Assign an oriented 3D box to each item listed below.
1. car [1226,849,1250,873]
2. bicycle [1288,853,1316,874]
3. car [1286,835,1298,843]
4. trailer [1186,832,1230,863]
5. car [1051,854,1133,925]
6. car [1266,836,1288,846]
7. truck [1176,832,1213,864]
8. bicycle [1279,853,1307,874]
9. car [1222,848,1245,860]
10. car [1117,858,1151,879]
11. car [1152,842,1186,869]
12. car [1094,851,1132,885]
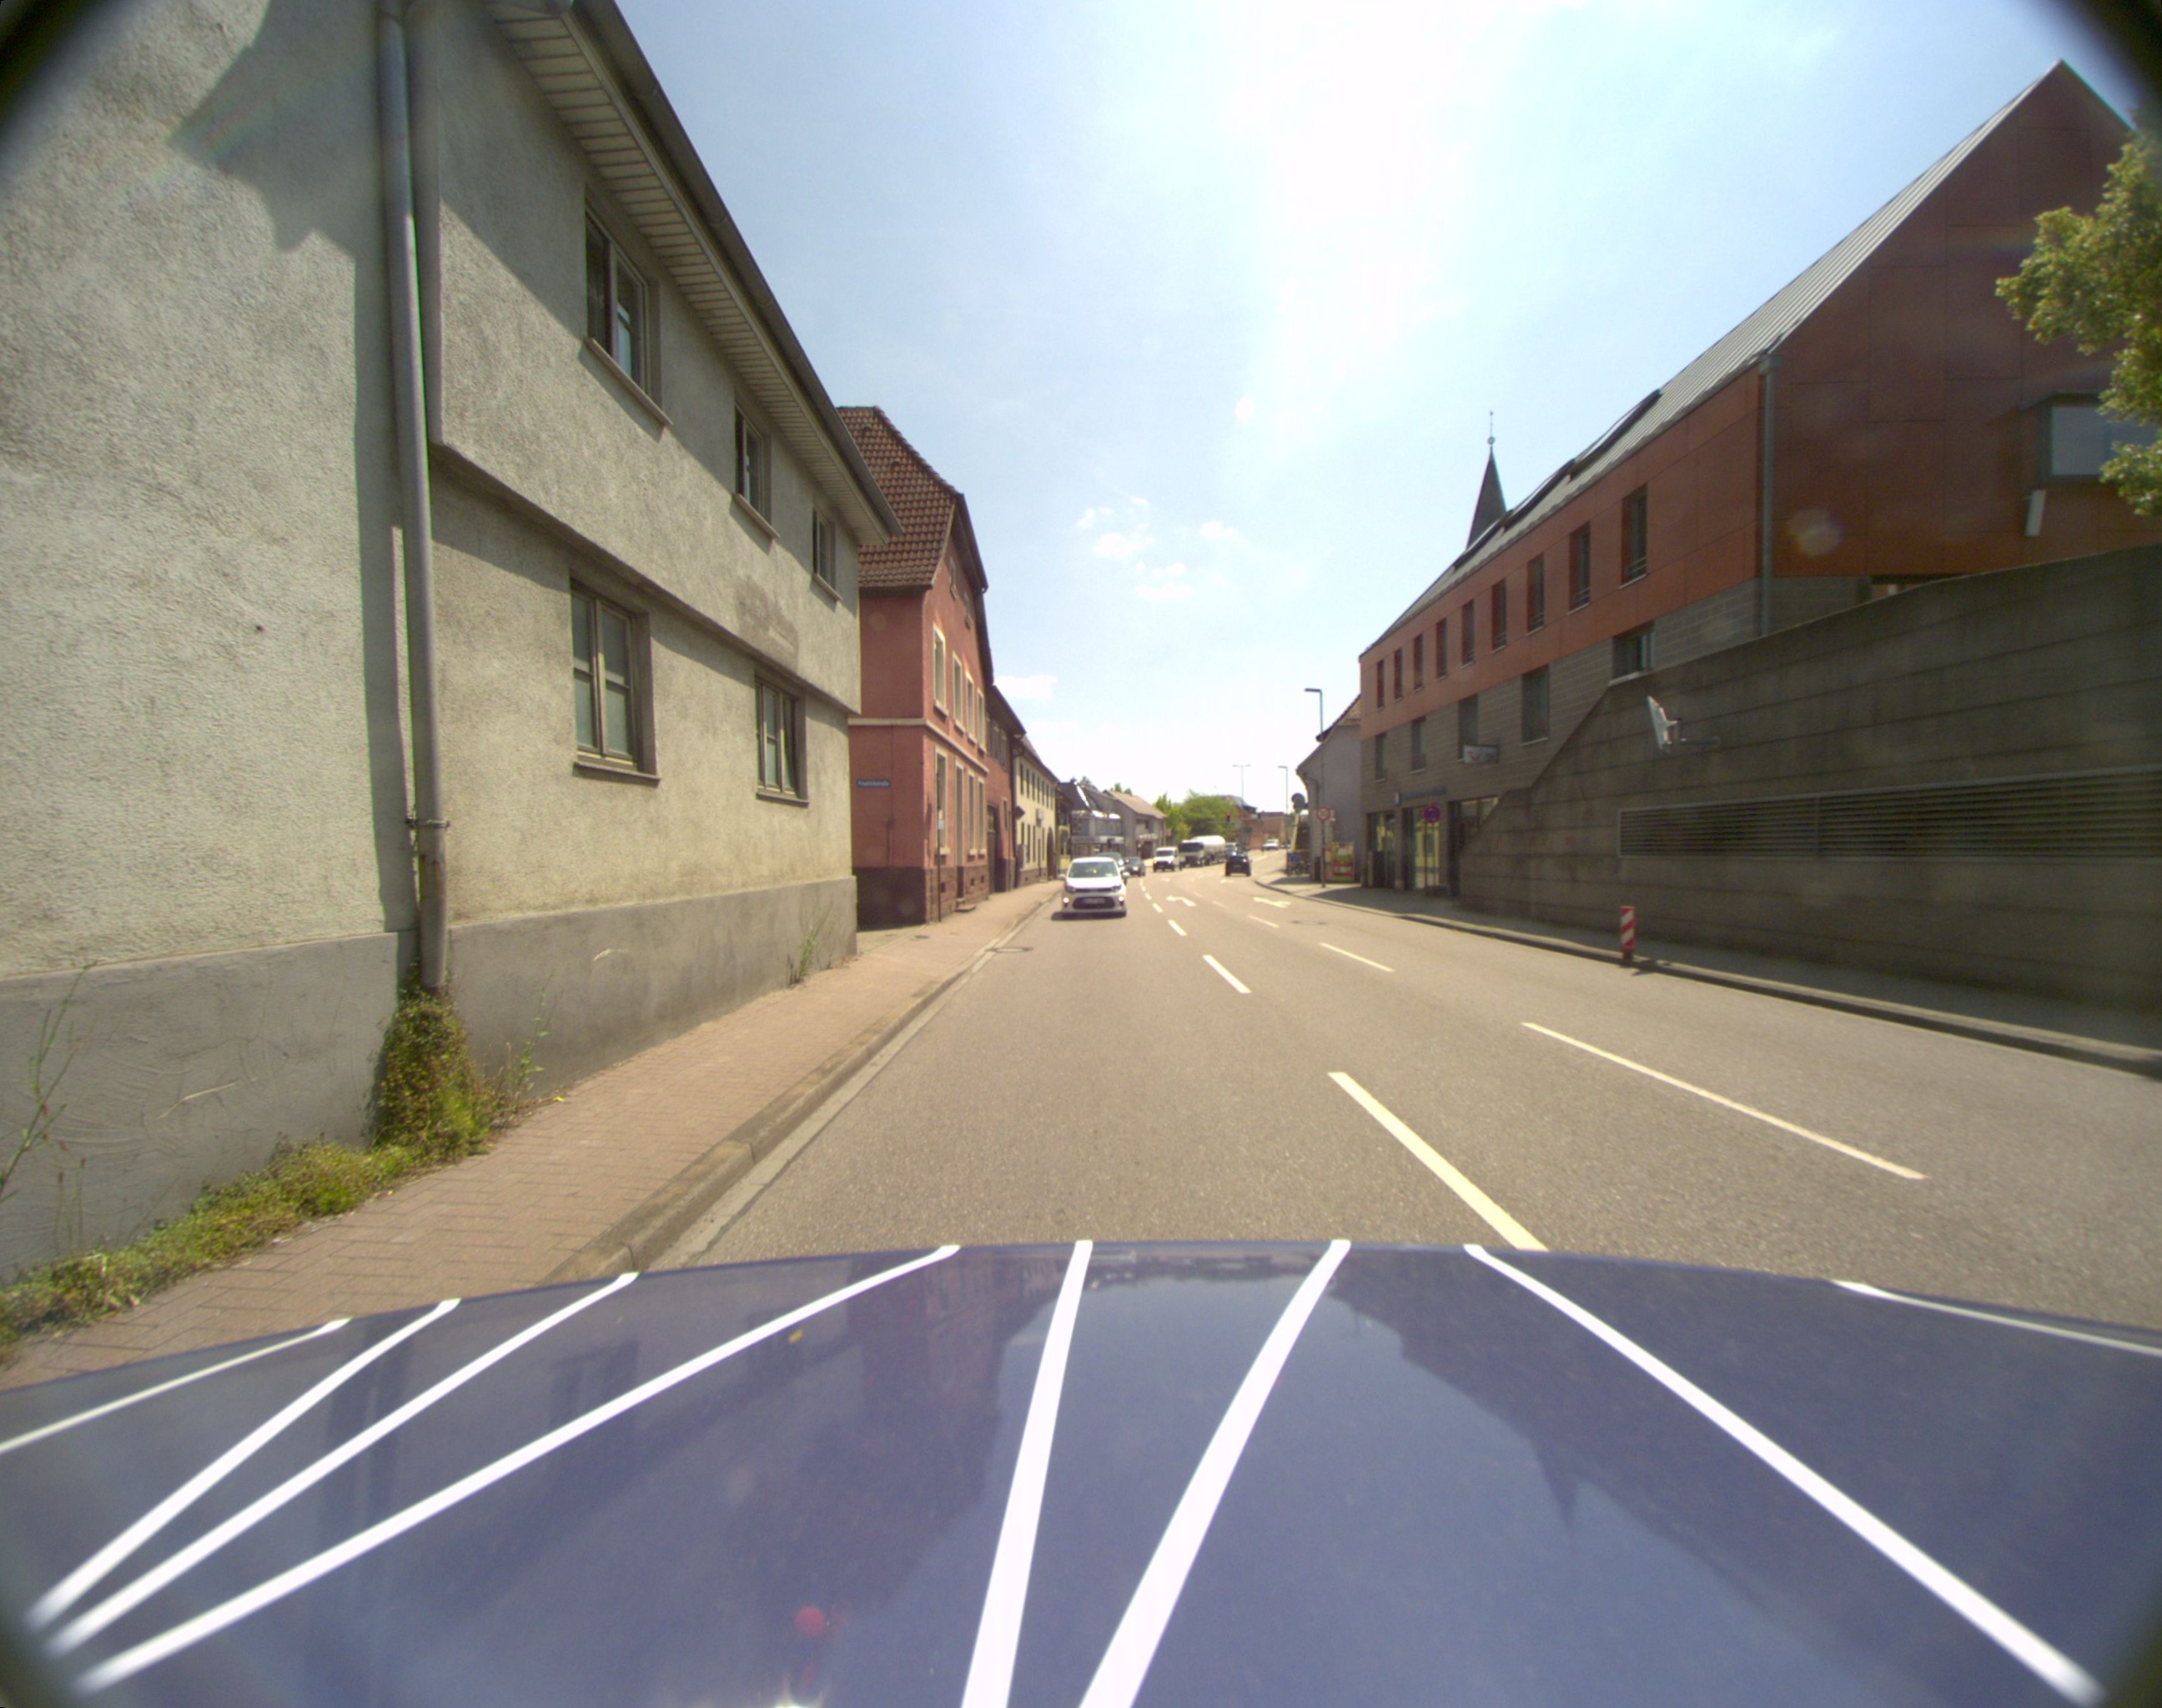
[{"bbox_3d":[11.488,0.471,55.501,1.672,1.648,4.021,-1,0,12],"label":"car"},{"bbox_3d":[14.078,0.611,48.457,1.834,1.241,0.577,-3,-1,-34],"label":"bicycle"},{"bbox_3d":[43.637,-3.043,157.188,2.008,1.621,4.584,-1,0,20],"label":"car"},{"bbox_3d":[15.674,-0.825,92.924,2.833,3.549,10.982,-1,0,23],"label":"trailer"},{"bbox_3d":[0.401,0.813,19.584,1.724,1.541,4.304,-2,0,5],"label":"car"},{"bbox_3d":[33.595,-2.189,130.455,2.007,1.621,4.587,0,1,38],"label":"car"},{"bbox_3d":[13.036,-0.698,86.650,2.843,3.549,5.477,-1,1,23],"label":"truck"},{"bbox_3d":[13.659,0.622,48.957,1.834,1.241,0.577,-3,-1,-34],"label":"bicycle"},{"bbox_3d":[21.066,-0.044,104.770,2.008,1.621,4.585,-1,1,26],"label":"car"},{"bbox_3d":[3.852,1.019,54.794,1.927,1.358,4.306,-2,0,10],"label":"car"},{"bbox_3d":[8.590,0.151,73.773,2.172,2.549,4.831,-1,1,19],"label":"car"},{"bbox_3d":[1.704,0.668,39.159,1.724,1.541,4.304,-2,0,4],"label":"car"}]
